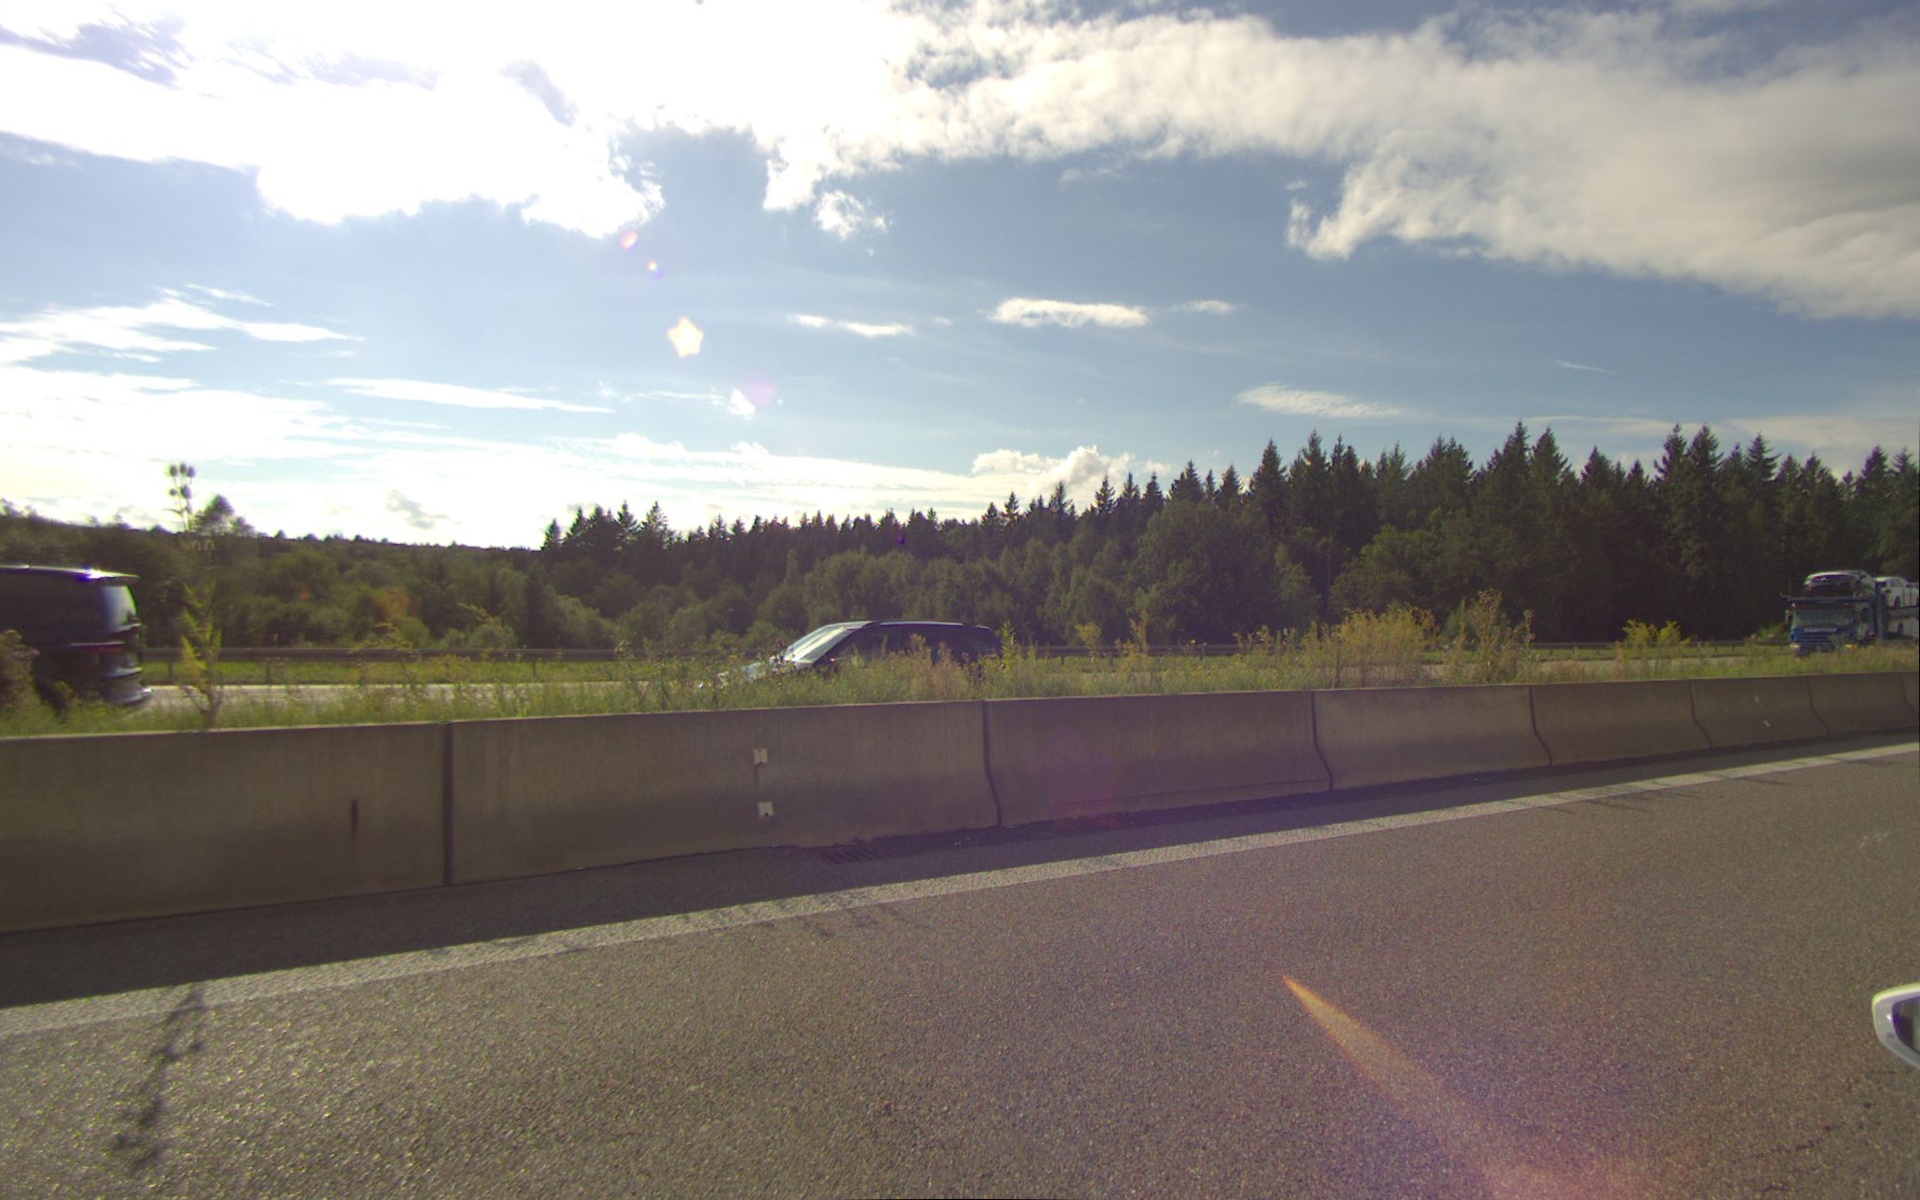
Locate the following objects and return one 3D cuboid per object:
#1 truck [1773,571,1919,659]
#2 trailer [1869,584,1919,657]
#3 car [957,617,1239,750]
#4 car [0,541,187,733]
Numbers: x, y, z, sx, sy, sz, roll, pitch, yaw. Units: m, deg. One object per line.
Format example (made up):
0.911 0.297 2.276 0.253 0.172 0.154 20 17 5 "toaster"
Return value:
41.810 0.794 46.596 11.004 3.737 2.817 2 -1 -31 "truck"
50.314 1.122 51.752 8.852 3.575 2.784 2 -1 -31 "trailer"
1.961 1.103 14.187 3.599 1.565 1.756 2 2 -30 "car"
-10.858 0.310 10.255 4.437 1.901 1.869 2 2 -30 "car"
